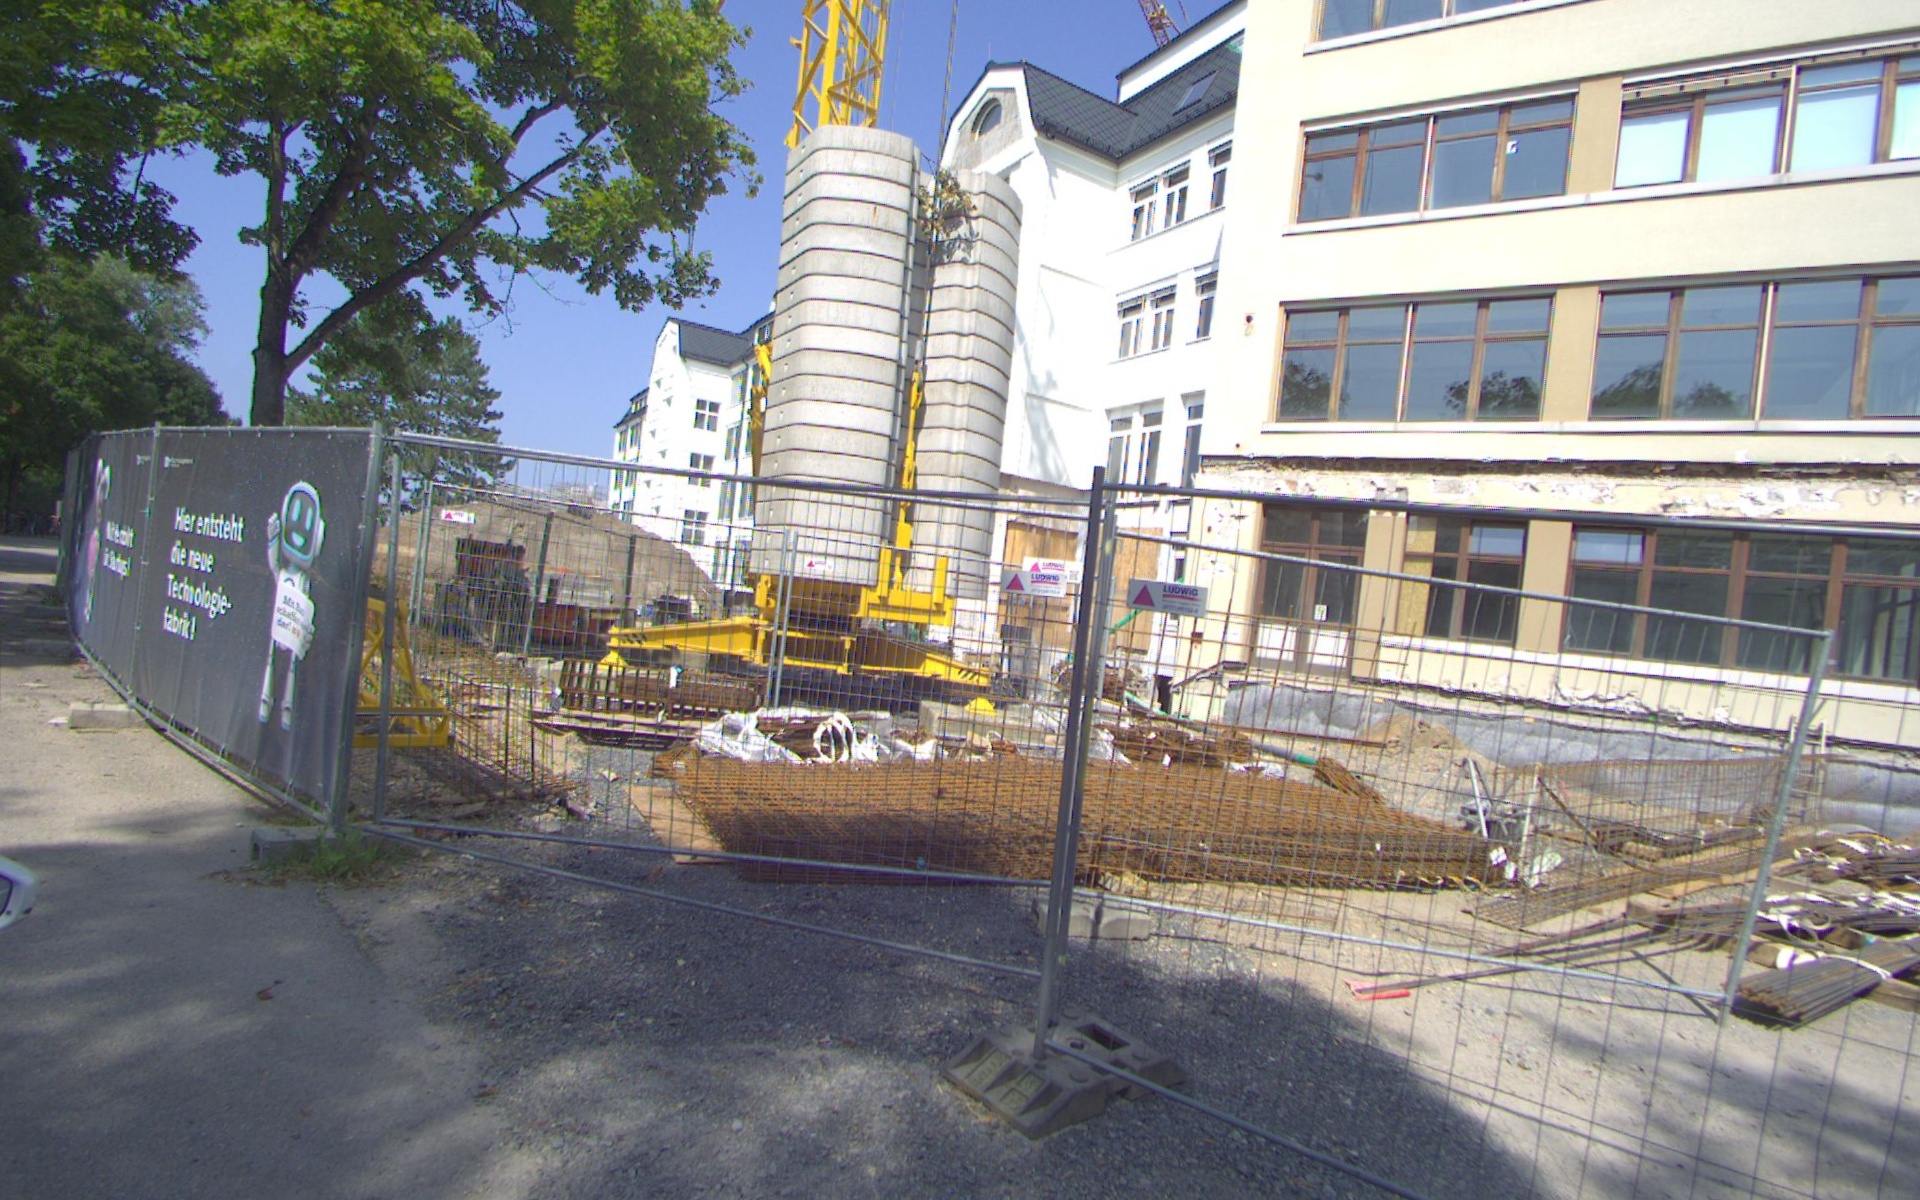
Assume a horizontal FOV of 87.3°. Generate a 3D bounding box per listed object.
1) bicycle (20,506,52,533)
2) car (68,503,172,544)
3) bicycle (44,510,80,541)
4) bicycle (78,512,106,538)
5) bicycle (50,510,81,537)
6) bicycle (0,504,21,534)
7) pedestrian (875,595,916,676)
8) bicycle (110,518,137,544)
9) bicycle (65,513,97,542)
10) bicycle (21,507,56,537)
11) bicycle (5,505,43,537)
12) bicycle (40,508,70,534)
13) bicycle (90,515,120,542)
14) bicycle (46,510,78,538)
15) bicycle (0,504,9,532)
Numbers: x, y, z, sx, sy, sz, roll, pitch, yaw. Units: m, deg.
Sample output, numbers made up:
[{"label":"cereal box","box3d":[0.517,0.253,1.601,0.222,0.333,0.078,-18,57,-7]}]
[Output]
[{"label":"bicycle","box3d":[-42.246,-3.666,45.988,0.494,1.121,1.788,7,-1,-26]},{"label":"car","box3d":[-45.164,-4.085,54.204,3.961,1.528,1.784,8,-1,-33]},{"label":"bicycle","box3d":[-35.641,-2.939,39.954,0.494,1.121,1.788,7,-1,-26]},{"label":"bicycle","box3d":[-42.516,-3.659,49.305,0.494,1.121,1.788,7,-1,-26]},{"label":"bicycle","box3d":[-41.082,-3.496,46.217,0.494,1.121,1.788,7,-1,-26]},{"label":"bicycle","box3d":[-37.845,-3.206,39.723,0.494,1.121,1.788,7,-1,-26]},{"label":"pedestrian","box3d":[-1.303,0.713,20.284,0.517,1.546,0.493,6,0,-23]},{"label":"bicycle","box3d":[-39.684,-3.285,47.729,0.494,1.121,1.788,7,-1,-26]},{"label":"bicycle","box3d":[-36.917,-3.035,42.267,0.494,1.121,1.788,7,-1,-26]},{"label":"bicycle","box3d":[-38.406,-3.233,41.951,0.494,1.121,1.788,7,-1,-26]},{"label":"bicycle","box3d":[-36.970,-3.119,39.762,0.494,1.121,1.788,7,-1,-26]},{"label":"bicycle","box3d":[-43.428,-3.771,48.272,0.494,1.121,1.788,7,-1,-26]},{"label":"bicycle","box3d":[-38.897,-3.223,45.786,0.494,1.121,1.788,7,-1,-26]},{"label":"bicycle","box3d":[-39.791,-3.369,44.575,0.494,1.121,1.788,7,-1,-26]},{"label":"bicycle","box3d":[-39.381,-3.394,40.874,0.494,1.121,1.788,7,-1,-26]}]
